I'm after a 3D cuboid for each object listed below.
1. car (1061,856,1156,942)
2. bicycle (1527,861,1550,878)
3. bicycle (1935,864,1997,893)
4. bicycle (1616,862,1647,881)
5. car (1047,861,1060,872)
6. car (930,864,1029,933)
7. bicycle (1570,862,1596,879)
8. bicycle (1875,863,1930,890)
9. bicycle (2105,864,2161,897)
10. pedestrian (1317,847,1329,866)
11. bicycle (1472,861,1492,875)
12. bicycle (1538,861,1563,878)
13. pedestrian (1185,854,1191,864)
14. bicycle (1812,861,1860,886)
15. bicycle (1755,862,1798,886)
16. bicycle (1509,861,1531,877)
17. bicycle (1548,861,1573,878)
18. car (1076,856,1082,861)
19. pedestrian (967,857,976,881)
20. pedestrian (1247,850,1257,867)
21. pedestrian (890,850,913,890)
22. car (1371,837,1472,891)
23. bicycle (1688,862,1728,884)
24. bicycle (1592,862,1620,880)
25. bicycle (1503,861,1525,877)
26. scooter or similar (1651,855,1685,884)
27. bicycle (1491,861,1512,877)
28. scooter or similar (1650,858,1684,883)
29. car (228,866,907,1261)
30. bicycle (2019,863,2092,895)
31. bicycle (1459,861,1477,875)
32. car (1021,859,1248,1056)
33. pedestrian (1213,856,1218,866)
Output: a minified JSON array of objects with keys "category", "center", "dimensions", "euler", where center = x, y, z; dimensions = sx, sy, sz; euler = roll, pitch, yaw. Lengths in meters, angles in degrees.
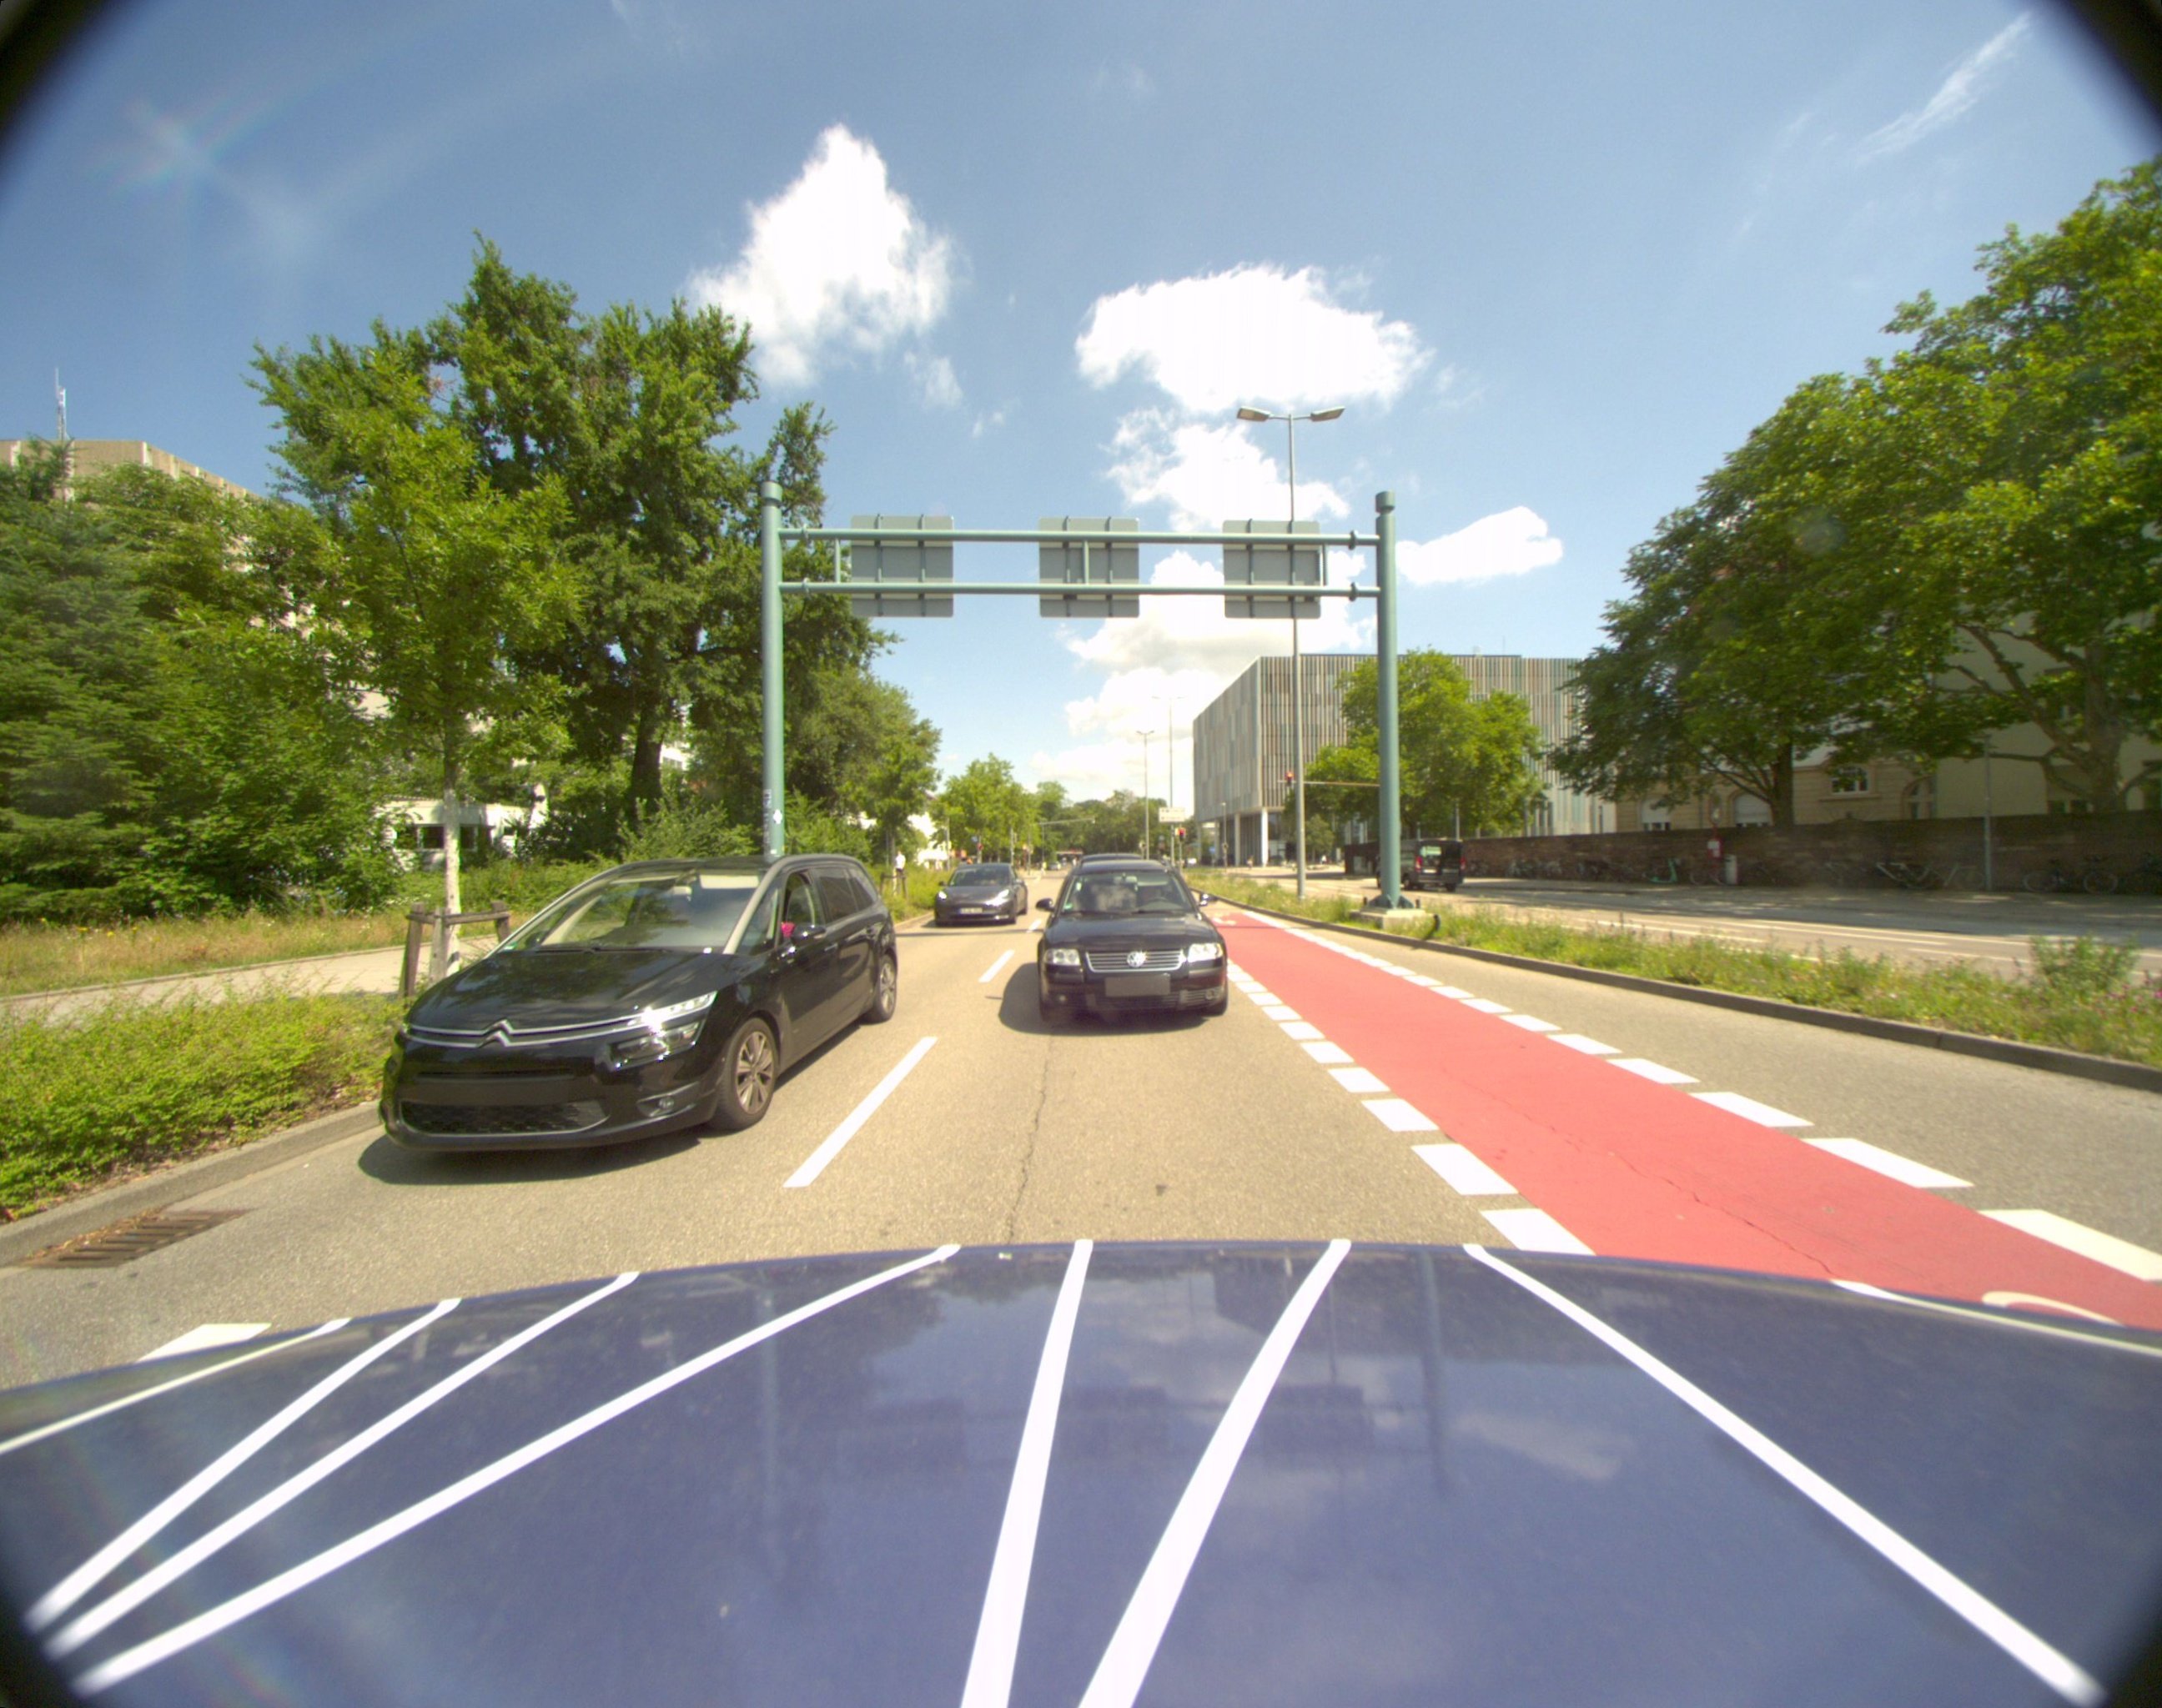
[{"category":"car","center":[0.544,0.859,16.548],"dimensions":[1.723,1.545,4.594],"euler":[-3,0,1]},{"category":"bicycle","center":[23.466,0.787,39.014],"dimensions":[0.265,0.826,1.235],"euler":[-1,0,-11]},{"category":"bicycle","center":[26.240,0.721,22.545],"dimensions":[0.265,0.826,1.235],"euler":[-1,0,-11]},{"category":"bicycle","center":[24.164,0.770,33.367],"dimensions":[0.265,0.826,1.235],"euler":[-1,0,-11]},{"category":"car","center":[-4.333,1.947,122.148],"dimensions":[1.816,1.598,4.479],"euler":[-3,0,1]},{"category":"car","center":[-2.351,0.998,18.648],"dimensions":[1.806,1.361,4.157],"euler":[-1,1,1]},{"category":"bicycle","center":[23.873,0.779,36.164],"dimensions":[0.265,0.826,1.235],"euler":[-1,0,-11]},{"category":"bicycle","center":[25.995,0.700,24.059],"dimensions":[0.265,0.826,1.235],"euler":[-1,0,-11]},{"category":"bicycle","center":[27.126,0.675,19.363],"dimensions":[0.265,0.826,1.234],"euler":[-1,0,-13]},{"category":"pedestrian","center":[24.831,0.249,77.934],"dimensions":[0.994,2.002,0.864],"euler":[-1,0,1]},{"category":"bicycle","center":[22.925,0.795,43.446],"dimensions":[0.265,0.826,1.234],"euler":[-1,0,-11]},{"category":"bicycle","center":[23.212,0.749,37.548],"dimensions":[0.265,0.826,1.234],"euler":[-1,0,-11]},{"category":"pedestrian","center":[16.828,0.791,119.417],"dimensions":[0.793,1.681,0.706],"euler":[-1,0,1]},{"category":"bicycle","center":[25.681,0.643,25.867],"dimensions":[0.265,0.826,1.235],"euler":[-1,0,-11]},{"category":"bicycle","center":[25.186,0.707,27.536],"dimensions":[0.265,0.826,1.235],"euler":[-1,0,-11]},{"category":"bicycle","center":[23.357,0.789,40.424],"dimensions":[0.265,0.826,1.234],"euler":[-1,0,-11]},{"category":"bicycle","center":[23.661,0.748,37.485],"dimensions":[0.265,0.826,1.235],"euler":[-1,0,-11]},{"category":"car","center":[-0.769,1.640,257.307],"dimensions":[1.758,1.581,4.275],"euler":[-1,0,-4]},{"category":"pedestrian","center":[-8.337,1.124,57.842],"dimensions":[0.640,1.754,0.885],"euler":[-1,0,-10]},{"category":"pedestrian","center":[20.021,0.554,88.971],"dimensions":[0.864,2.002,0.995],"euler":[-1,0,-1]},{"category":"pedestrian","center":[-9.142,0.807,38.729],"dimensions":[0.845,2.026,0.902],"euler":[-1,0,7]},{"category":"car","center":[14.818,0.429,33.464],"dimensions":[2.153,2.162,5.018],"euler":[1,0,0]},{"category":"bicycle","center":[24.816,0.739,30.096],"dimensions":[0.265,0.826,1.233],"euler":[-1,0,-21]},{"category":"bicycle","center":[24.074,0.782,34.861],"dimensions":[0.265,0.826,1.235],"euler":[-1,0,-11]},{"category":"bicycle","center":[22.850,0.795,40.100],"dimensions":[0.265,0.826,1.234],"euler":[-1,0,-11]},{"category":"scooter or similar","center":[23.905,0.622,30.957],"dimensions":[0.265,1.182,1.234],"euler":[-1,0,-11]},{"category":"bicycle","center":[23.150,0.817,41.819],"dimensions":[0.265,0.826,1.234],"euler":[-1,0,-11]},{"category":"scooter or similar","center":[24.572,0.675,31.866],"dimensions":[0.266,1.014,1.140],"euler":[-1,0,-22]},{"category":"car","center":[-2.757,0.955,5.558],"dimensions":[1.816,1.598,4.479],"euler":[-3,0,1]},{"category":"bicycle","center":[26.631,0.669,20.788],"dimensions":[0.265,0.826,1.234],"euler":[-1,0,-13]},{"category":"bicycle","center":[22.800,0.815,44.790],"dimensions":[0.265,0.826,1.235],"euler":[-1,0,-11]},{"category":"car","center":[0.451,0.832,8.279],"dimensions":[1.723,1.472,4.594],"euler":[-3,0,1]},{"category":"pedestrian","center":[19.599,1.003,110.990],"dimensions":[0.696,1.445,0.689],"euler":[-1,0,7]}]
